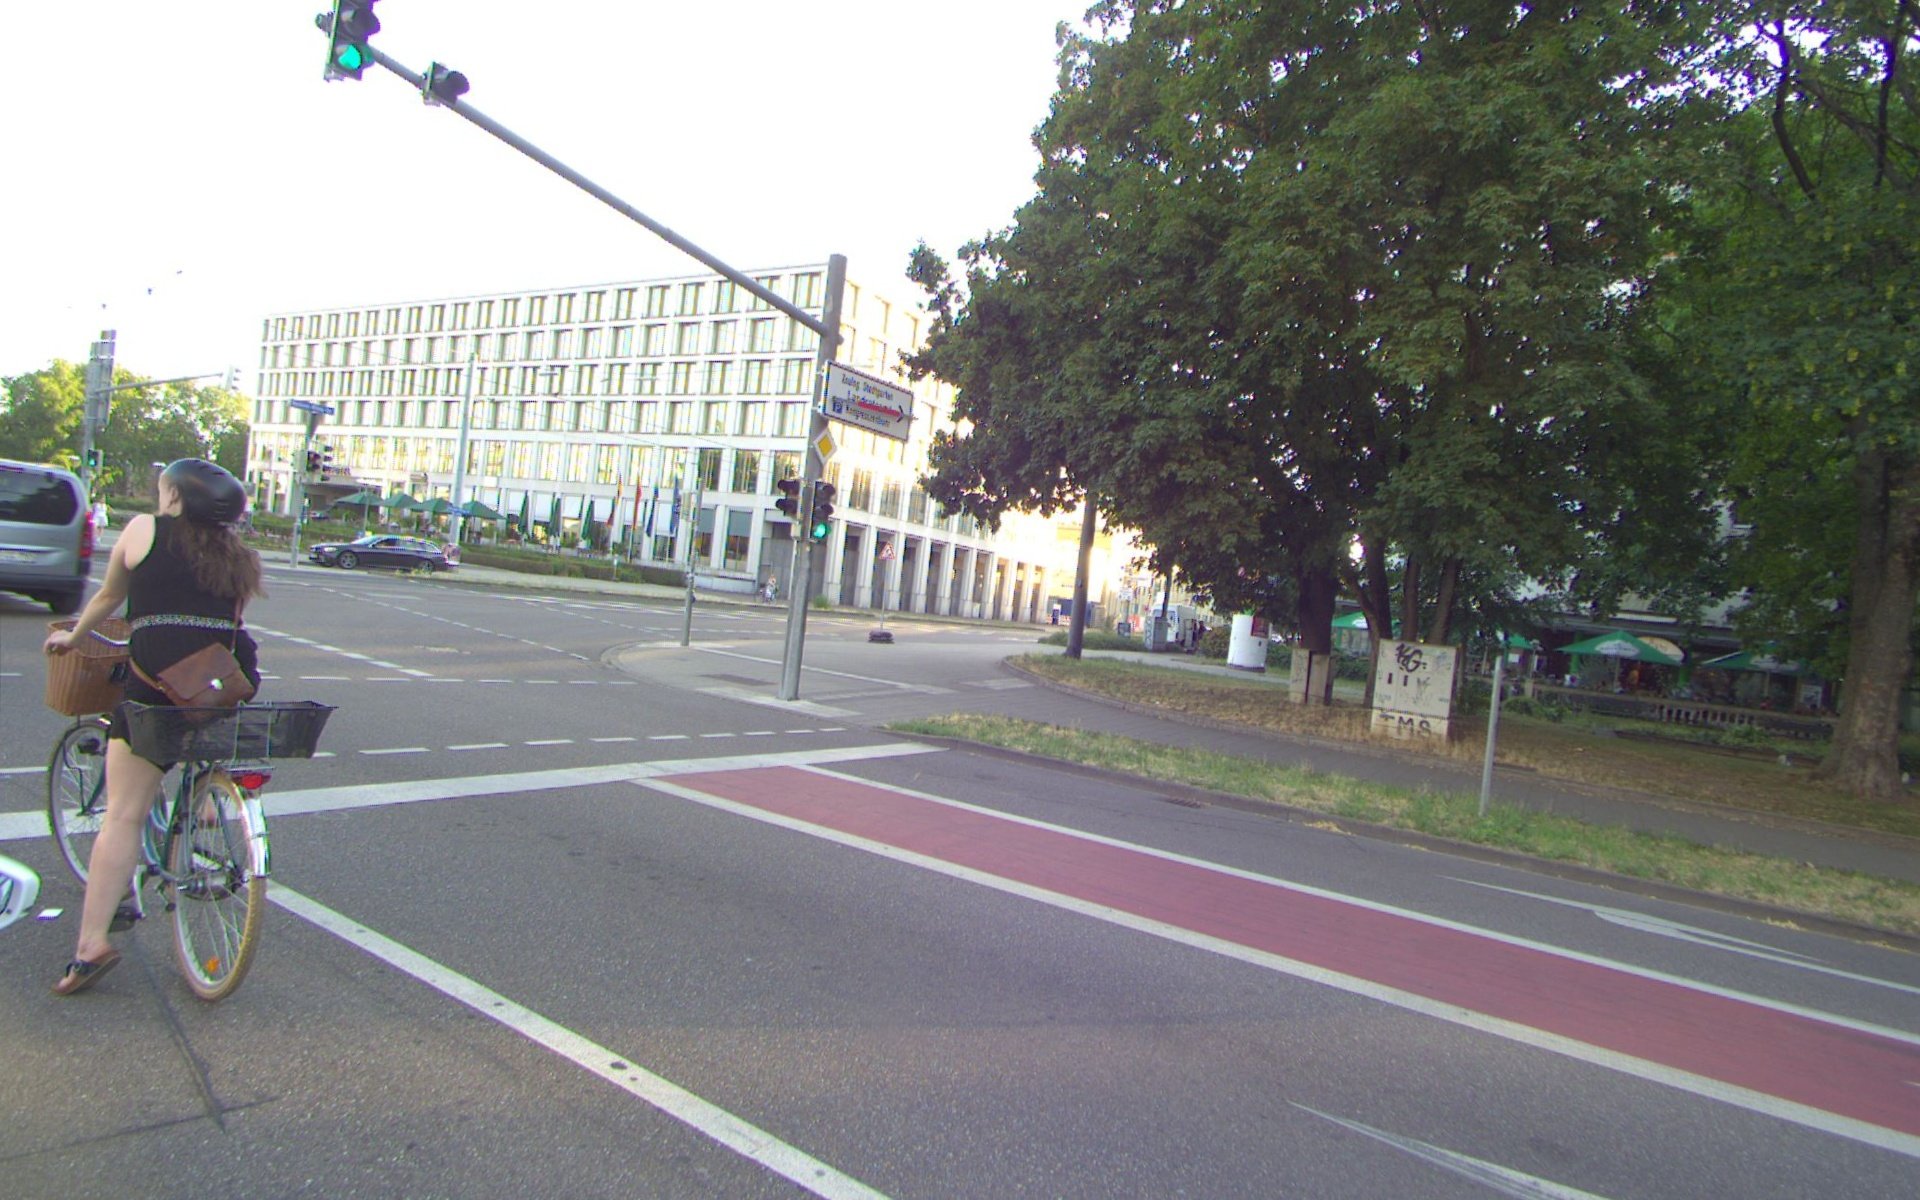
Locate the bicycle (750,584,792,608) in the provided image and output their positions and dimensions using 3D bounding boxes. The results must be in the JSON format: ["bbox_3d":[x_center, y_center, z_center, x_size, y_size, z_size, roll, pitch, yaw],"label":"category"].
[{"bbox_3d":[-10.553,-0.224,56.384,0.592,1.120,2.775,7,0,29],"label":"bicycle"}]

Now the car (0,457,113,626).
[{"bbox_3d":[-12.974,-0.952,12.949,4.424,1.913,1.764,9,2,31],"label":"car"}]

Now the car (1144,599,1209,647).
[{"bbox_3d":[12.037,1.299,55.713,1.967,2.318,4.605,6,0,31],"label":"car"}]

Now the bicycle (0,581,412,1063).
[{"bbox_3d":[-2.823,0.610,3.496,1.971,1.146,0.612,7,-1,32],"label":"bicycle"}]

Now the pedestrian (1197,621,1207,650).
[{"bbox_3d":[13.429,1.962,55.803,0.302,1.525,0.336,7,-1,31],"label":"pedestrian"}]

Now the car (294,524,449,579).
[{"bbox_3d":[-22.982,-1.864,39.478,1.968,1.534,4.826,7,0,34],"label":"car"}]

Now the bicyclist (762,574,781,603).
[{"bbox_3d":[-10.534,-0.628,56.331,0.567,1.556,0.708,7,1,29],"label":"bicyclist"}]

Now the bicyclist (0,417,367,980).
[{"bbox_3d":[-2.707,0.267,3.455,0.982,1.655,0.600,7,0,32],"label":"bicyclist"}]
